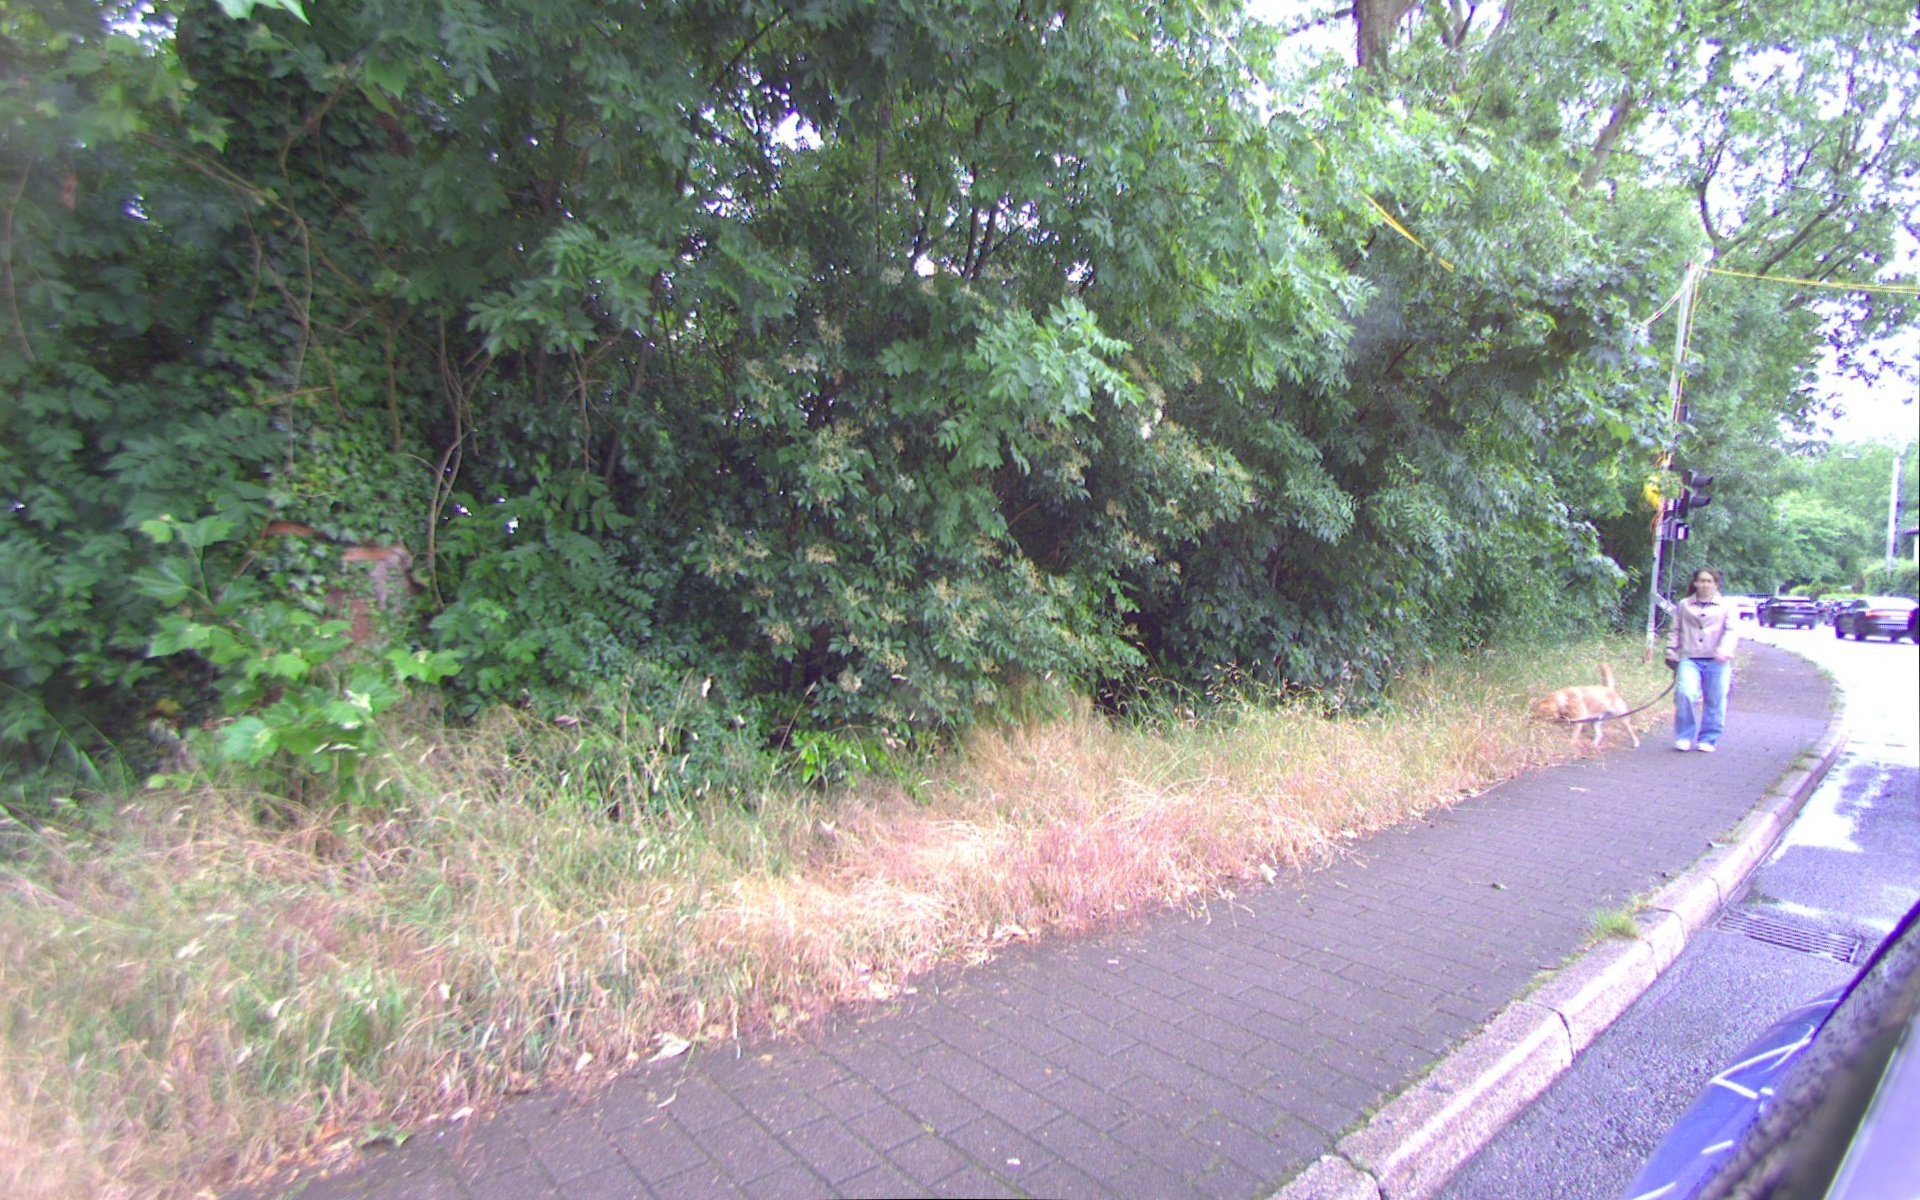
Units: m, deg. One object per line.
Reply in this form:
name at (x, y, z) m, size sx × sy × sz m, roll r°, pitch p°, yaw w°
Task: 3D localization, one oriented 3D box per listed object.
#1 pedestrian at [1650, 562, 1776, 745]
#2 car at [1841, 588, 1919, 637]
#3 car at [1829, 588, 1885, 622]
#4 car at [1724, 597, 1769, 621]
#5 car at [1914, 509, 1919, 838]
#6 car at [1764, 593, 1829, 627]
pedestrian at (6.627, 0.435, 8.907) m, size 0.771 × 1.518 × 0.734 m, roll 0°, pitch 1°, yaw -42°
car at (34.233, 0.430, 37.421) m, size 1.987 × 1.695 × 4.629 m, roll 0°, pitch 0°, yaw 35°
car at (51.082, 0.272, 57.710) m, size 1.869 × 1.848 × 4.075 m, roll 1°, pitch 1°, yaw 35°
car at (52.333, 0.577, 67.418) m, size 1.845 × 1.547 × 4.764 m, roll 0°, pitch 0°, yaw 32°
car at (8.221, 0.438, 6.840) m, size 5.001 × 1.943 × 2.100 m, roll 0°, pitch 0°, yaw -41°
car at (41.992, 0.479, 50.891) m, size 1.857 × 1.642 × 4.120 m, roll 0°, pitch 0°, yaw 30°
